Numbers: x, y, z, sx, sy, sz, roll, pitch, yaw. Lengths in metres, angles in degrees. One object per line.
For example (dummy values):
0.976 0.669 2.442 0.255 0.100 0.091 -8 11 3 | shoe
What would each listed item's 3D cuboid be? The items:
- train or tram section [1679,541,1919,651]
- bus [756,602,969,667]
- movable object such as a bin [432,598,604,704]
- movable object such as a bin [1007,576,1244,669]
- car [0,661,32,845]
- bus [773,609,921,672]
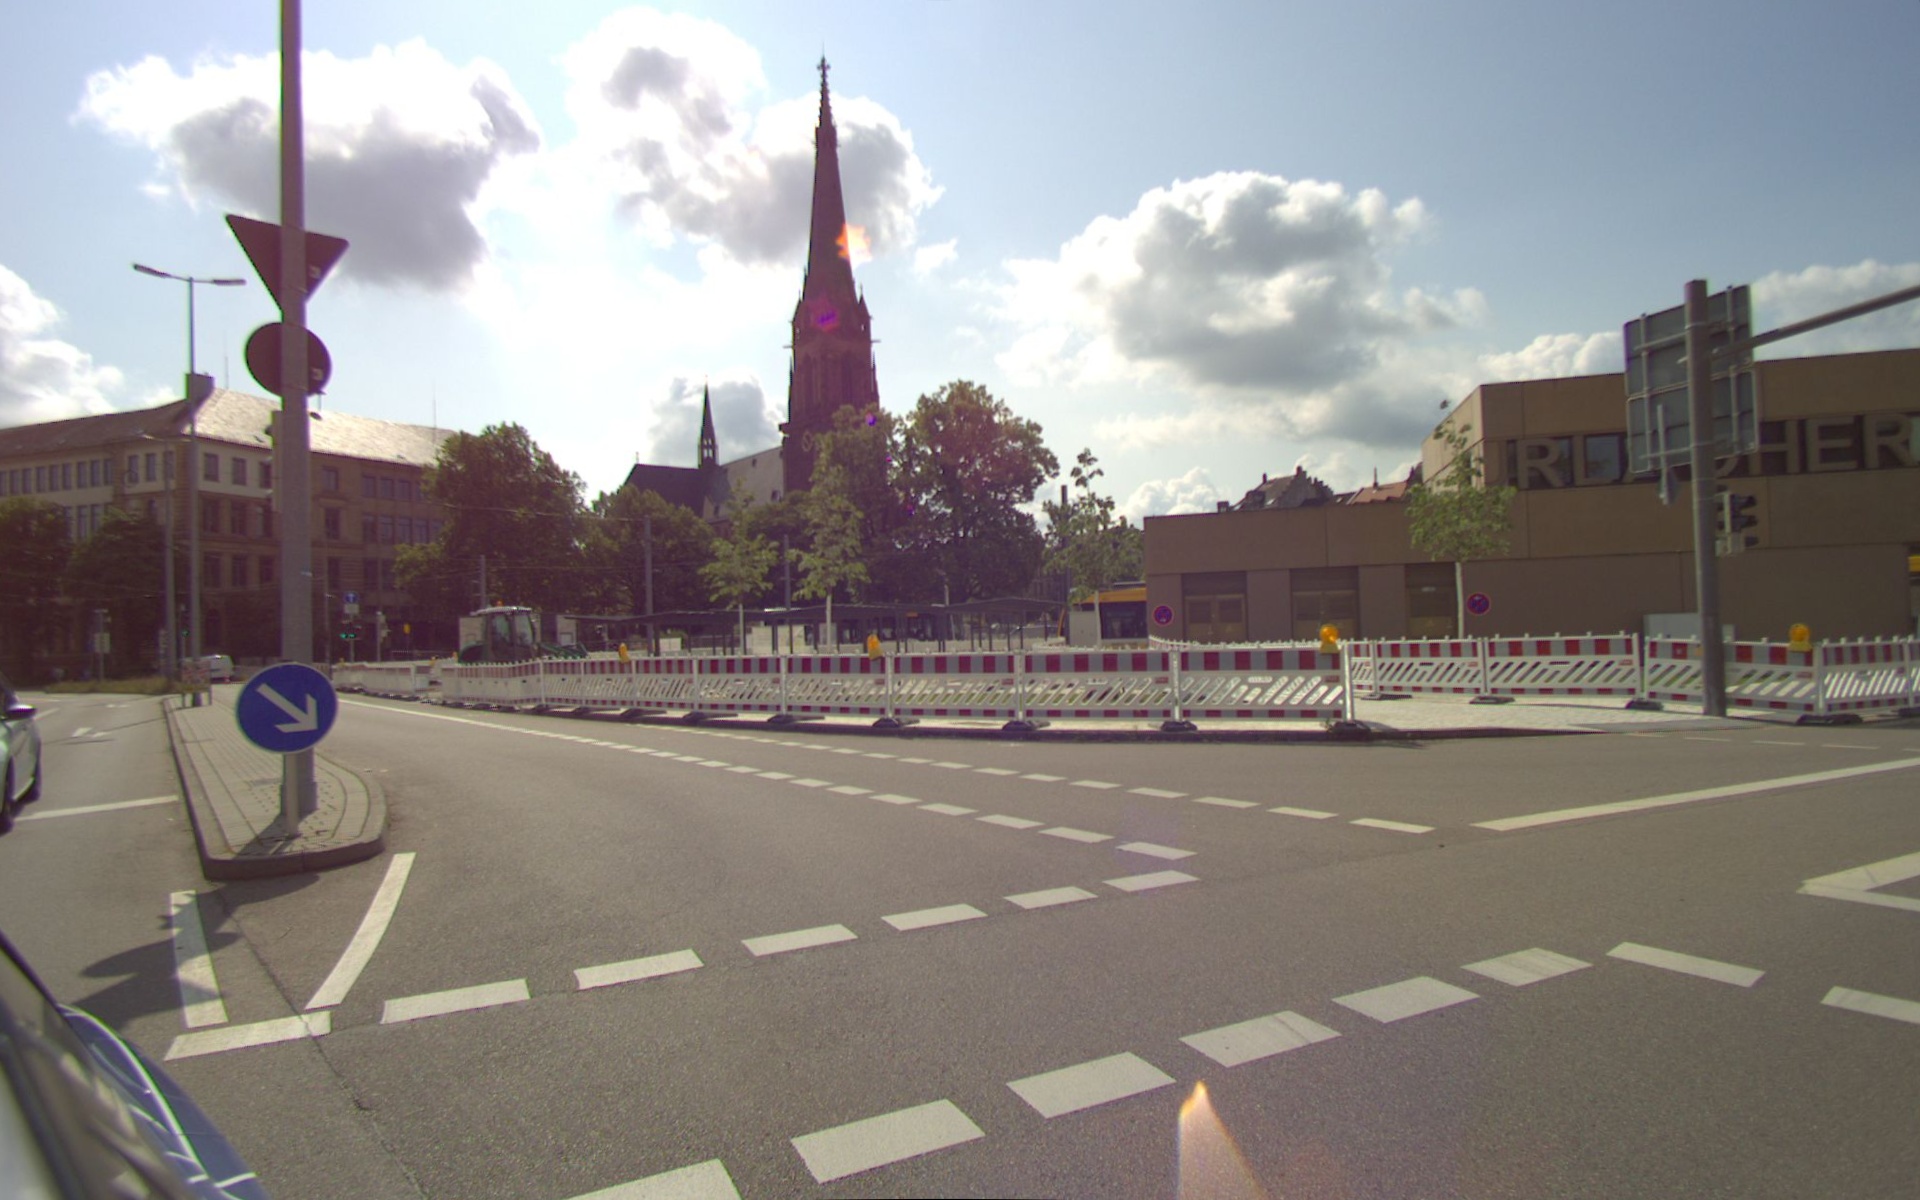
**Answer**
33.188 -0.192 35.769 12.304 3.599 2.654 -2 -2 17 | train or tram section
-5.659 2.023 58.428 11.969 3.287 2.977 -2 -2 17 | bus
-13.363 1.540 30.737 4.399 2.972 1.995 -2 -3 8 | movable object such as a bin
7.097 1.041 43.467 9.607 3.450 3.003 -3 -2 18 | movable object such as a bin
-8.995 1.305 8.393 1.630 1.453 4.012 -3 -1 -39 | car
-6.177 2.252 55.421 7.695 3.081 2.361 -3 -3 16 | bus
